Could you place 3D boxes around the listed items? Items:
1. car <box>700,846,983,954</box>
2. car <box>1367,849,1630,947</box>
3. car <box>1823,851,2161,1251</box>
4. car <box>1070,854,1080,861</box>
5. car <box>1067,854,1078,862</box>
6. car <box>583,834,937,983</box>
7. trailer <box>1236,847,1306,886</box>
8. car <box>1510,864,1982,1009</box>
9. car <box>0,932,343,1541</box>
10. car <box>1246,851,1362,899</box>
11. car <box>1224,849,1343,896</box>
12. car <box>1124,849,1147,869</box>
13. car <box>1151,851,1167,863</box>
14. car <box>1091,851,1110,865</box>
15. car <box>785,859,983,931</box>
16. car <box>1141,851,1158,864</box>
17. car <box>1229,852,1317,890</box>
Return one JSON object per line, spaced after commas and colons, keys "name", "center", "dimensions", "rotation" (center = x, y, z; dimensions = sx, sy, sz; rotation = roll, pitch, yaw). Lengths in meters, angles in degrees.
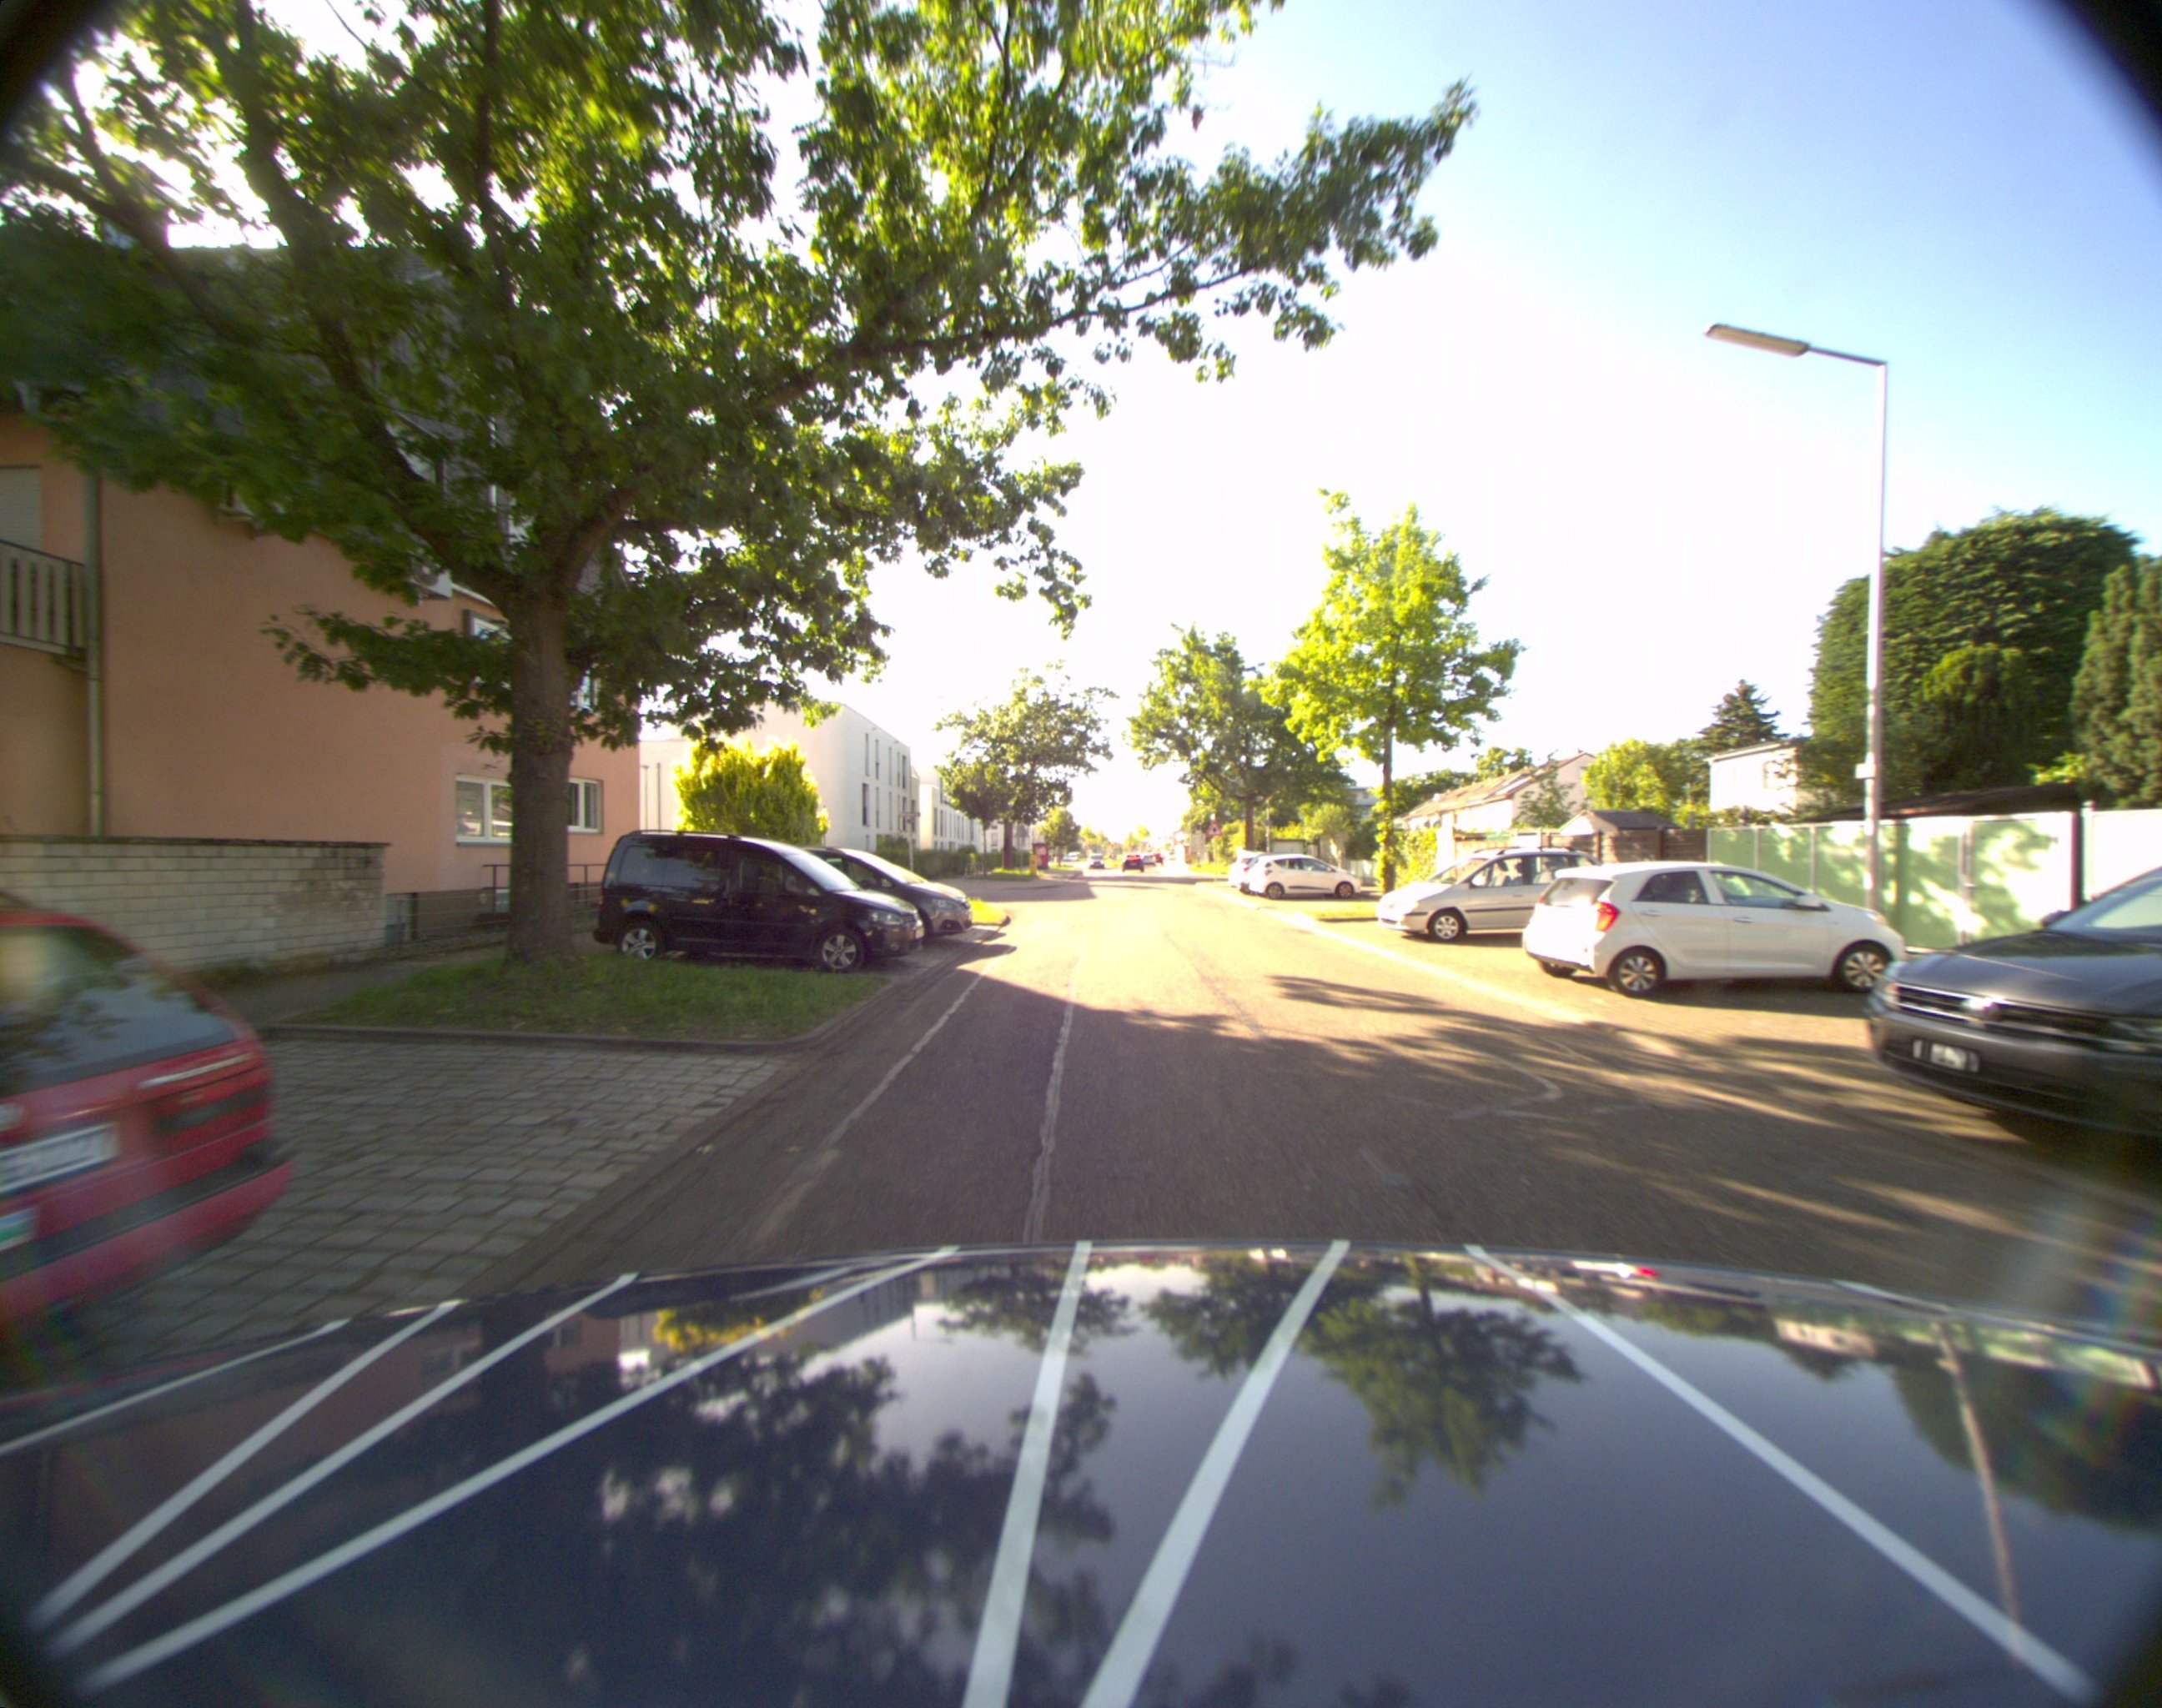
{"name": "car", "center": [-4.193, 0.773, 13.857], "dimensions": [4.514, 1.670, 1.879], "rotation": [2, 1, 0]}
{"name": "car", "center": [7.666, 0.780, 14.236], "dimensions": [3.948, 1.604, 1.706], "rotation": [-2, 0, 2]}
{"name": "car", "center": [6.889, 0.843, 4.005], "dimensions": [4.220, 1.714, 1.760], "rotation": [-2, 1, 0]}
{"name": "car", "center": [-1.274, 0.690, 158.152], "dimensions": [1.830, 1.324, 3.678], "rotation": [1, 0, 4]}
{"name": "car", "center": [-1.755, 0.780, 150.384], "dimensions": [1.944, 1.412, 4.000], "rotation": [0, 1, 3]}
{"name": "car", "center": [-4.364, 0.706, 10.802], "dimensions": [4.222, 1.771, 1.789], "rotation": [2, 1, 0]}
{"name": "trailer", "center": [8.521, 0.559, 34.170], "dimensions": [2.766, 1.638, 1.298], "rotation": [-1, 3, -3]}
{"name": "car", "center": [7.639, 0.902, 9.073], "dimensions": [4.011, 1.506, 1.795], "rotation": [0, 1, 2]}
{"name": "car", "center": [-4.974, 0.965, 1.872], "dimensions": [4.514, 1.437, 1.838], "rotation": [1, -1, 1]}
{"name": "car", "center": [7.690, 0.711, 26.446], "dimensions": [3.523, 1.487, 1.707], "rotation": [-1, 2, -1]}
{"name": "car", "center": [7.698, 0.677, 29.067], "dimensions": [3.965, 1.565, 1.921], "rotation": [-2, 2, -6]}
{"name": "car", "center": [4.453, 0.390, 62.701], "dimensions": [1.742, 1.531, 3.947], "rotation": [0, 0, 2]}
{"name": "car", "center": [9.532, 0.367, 93.375], "dimensions": [1.765, 1.469, 3.851], "rotation": [1, 0, 3]}
{"name": "car", "center": [2.146, 0.443, 82.685], "dimensions": [1.877, 1.469, 3.851], "rotation": [0, 0, 3]}
{"name": "car", "center": [-4.319, 0.877, 17.063], "dimensions": [3.955, 1.353, 1.683], "rotation": [2, 1, 0]}
{"name": "car", "center": [7.786, 0.404, 86.460], "dimensions": [1.765, 1.390, 3.851], "rotation": [0, 0, 3]}
{"name": "car", "center": [7.946, 0.689, 31.650], "dimensions": [3.302, 1.470, 1.616], "rotation": [-1, 2, 2]}
